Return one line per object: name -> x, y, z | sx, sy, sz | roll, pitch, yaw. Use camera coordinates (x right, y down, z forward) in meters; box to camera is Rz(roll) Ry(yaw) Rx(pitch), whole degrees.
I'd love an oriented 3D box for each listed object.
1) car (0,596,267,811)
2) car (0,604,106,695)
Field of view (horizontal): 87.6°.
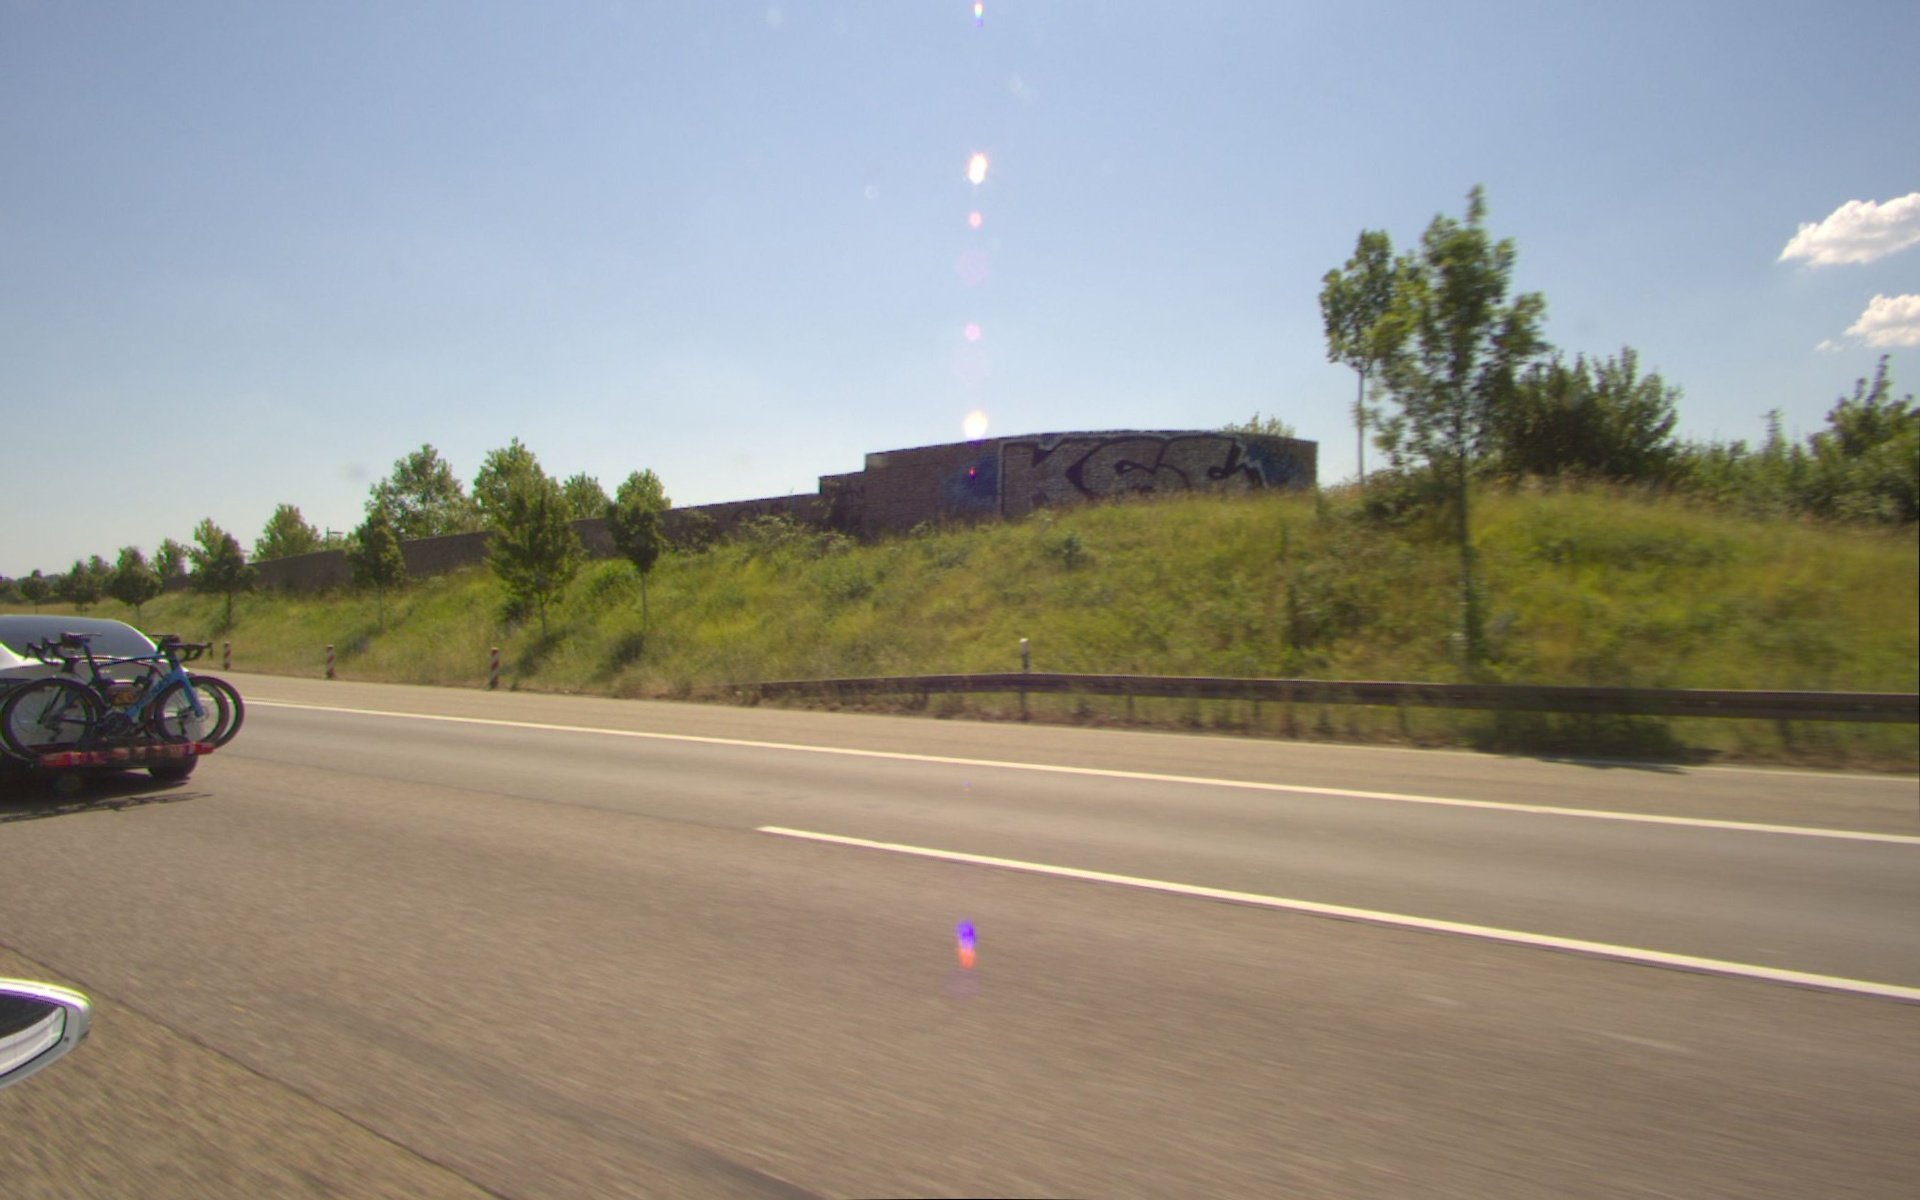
car -> -9.298, 0.880, 9.929 | 5.519, 1.657, 1.948 | -1, -2, 32
car -> -21.168, 1.061, 22.366 | 4.117, 1.862, 1.947 | -1, 0, 31
